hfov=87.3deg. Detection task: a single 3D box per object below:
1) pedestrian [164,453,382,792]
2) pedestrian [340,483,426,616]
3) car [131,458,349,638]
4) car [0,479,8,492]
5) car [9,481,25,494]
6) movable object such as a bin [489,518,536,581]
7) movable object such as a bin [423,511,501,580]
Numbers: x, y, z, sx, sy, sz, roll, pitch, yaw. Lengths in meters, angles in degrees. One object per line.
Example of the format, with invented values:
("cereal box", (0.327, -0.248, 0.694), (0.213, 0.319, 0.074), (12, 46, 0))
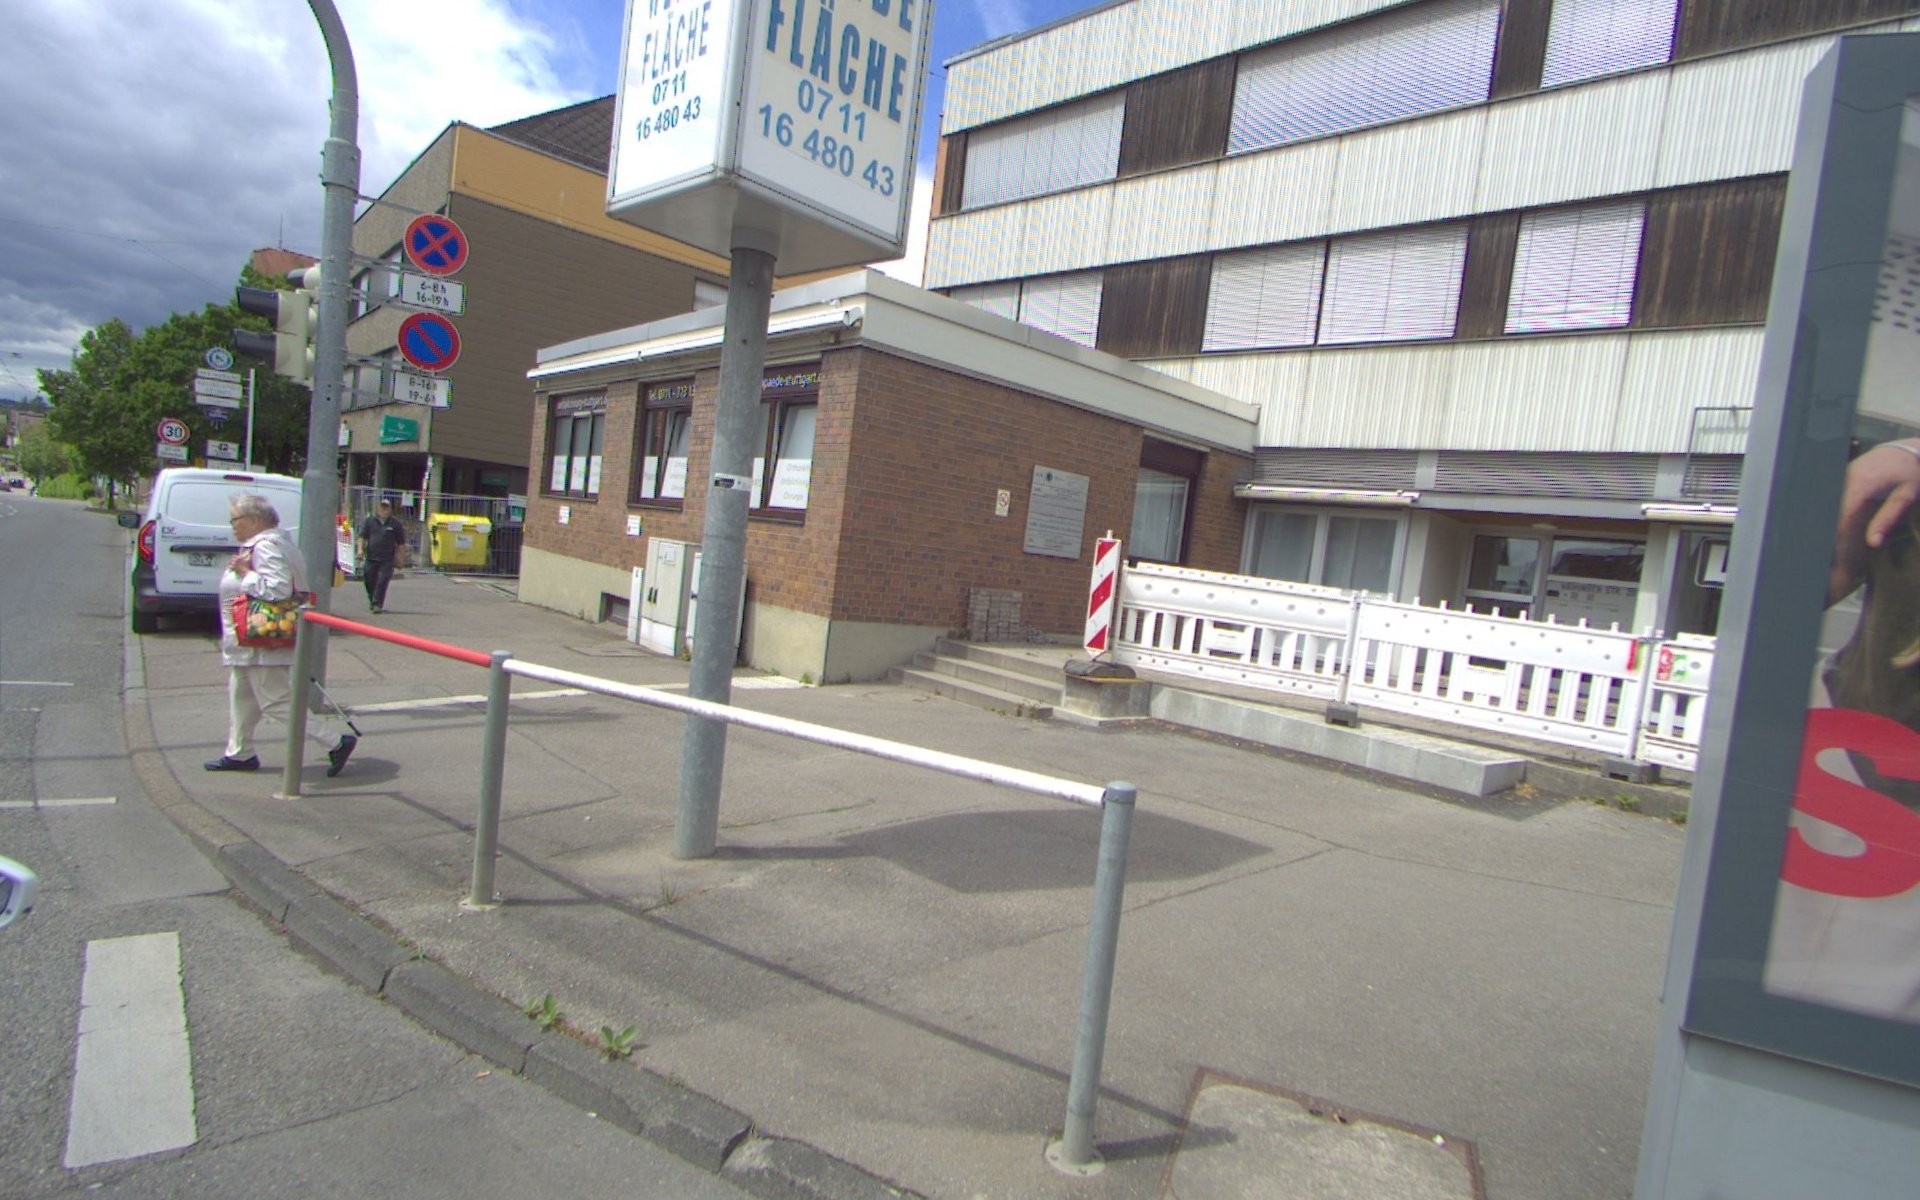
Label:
("pedestrian", (-3.681, 0.116, 5.479), (0.863, 1.659, 0.830), (2, 2, -29))
("pedestrian", (-8.465, -0.733, 14.765), (0.839, 1.826, 0.643), (6, 2, -41))
("car", (-9.058, -0.690, 12.506), (1.899, 1.820, 4.440), (0, 5, -39))
("car", (-155.021, -18.515, 162.227), (1.986, 2.040, 3.949), (3, 2, -45))
("car", (-163.245, -19.448, 174.127), (1.986, 2.040, 3.949), (3, 2, -45))
("movable object such as a bin", (-11.423, -1.296, 25.668), (0.775, 1.460, 1.007), (4, 5, -37))
("movable object such as a bin", (-12.389, -1.353, 25.000), (1.474, 1.513, 1.064), (4, 5, -38))
